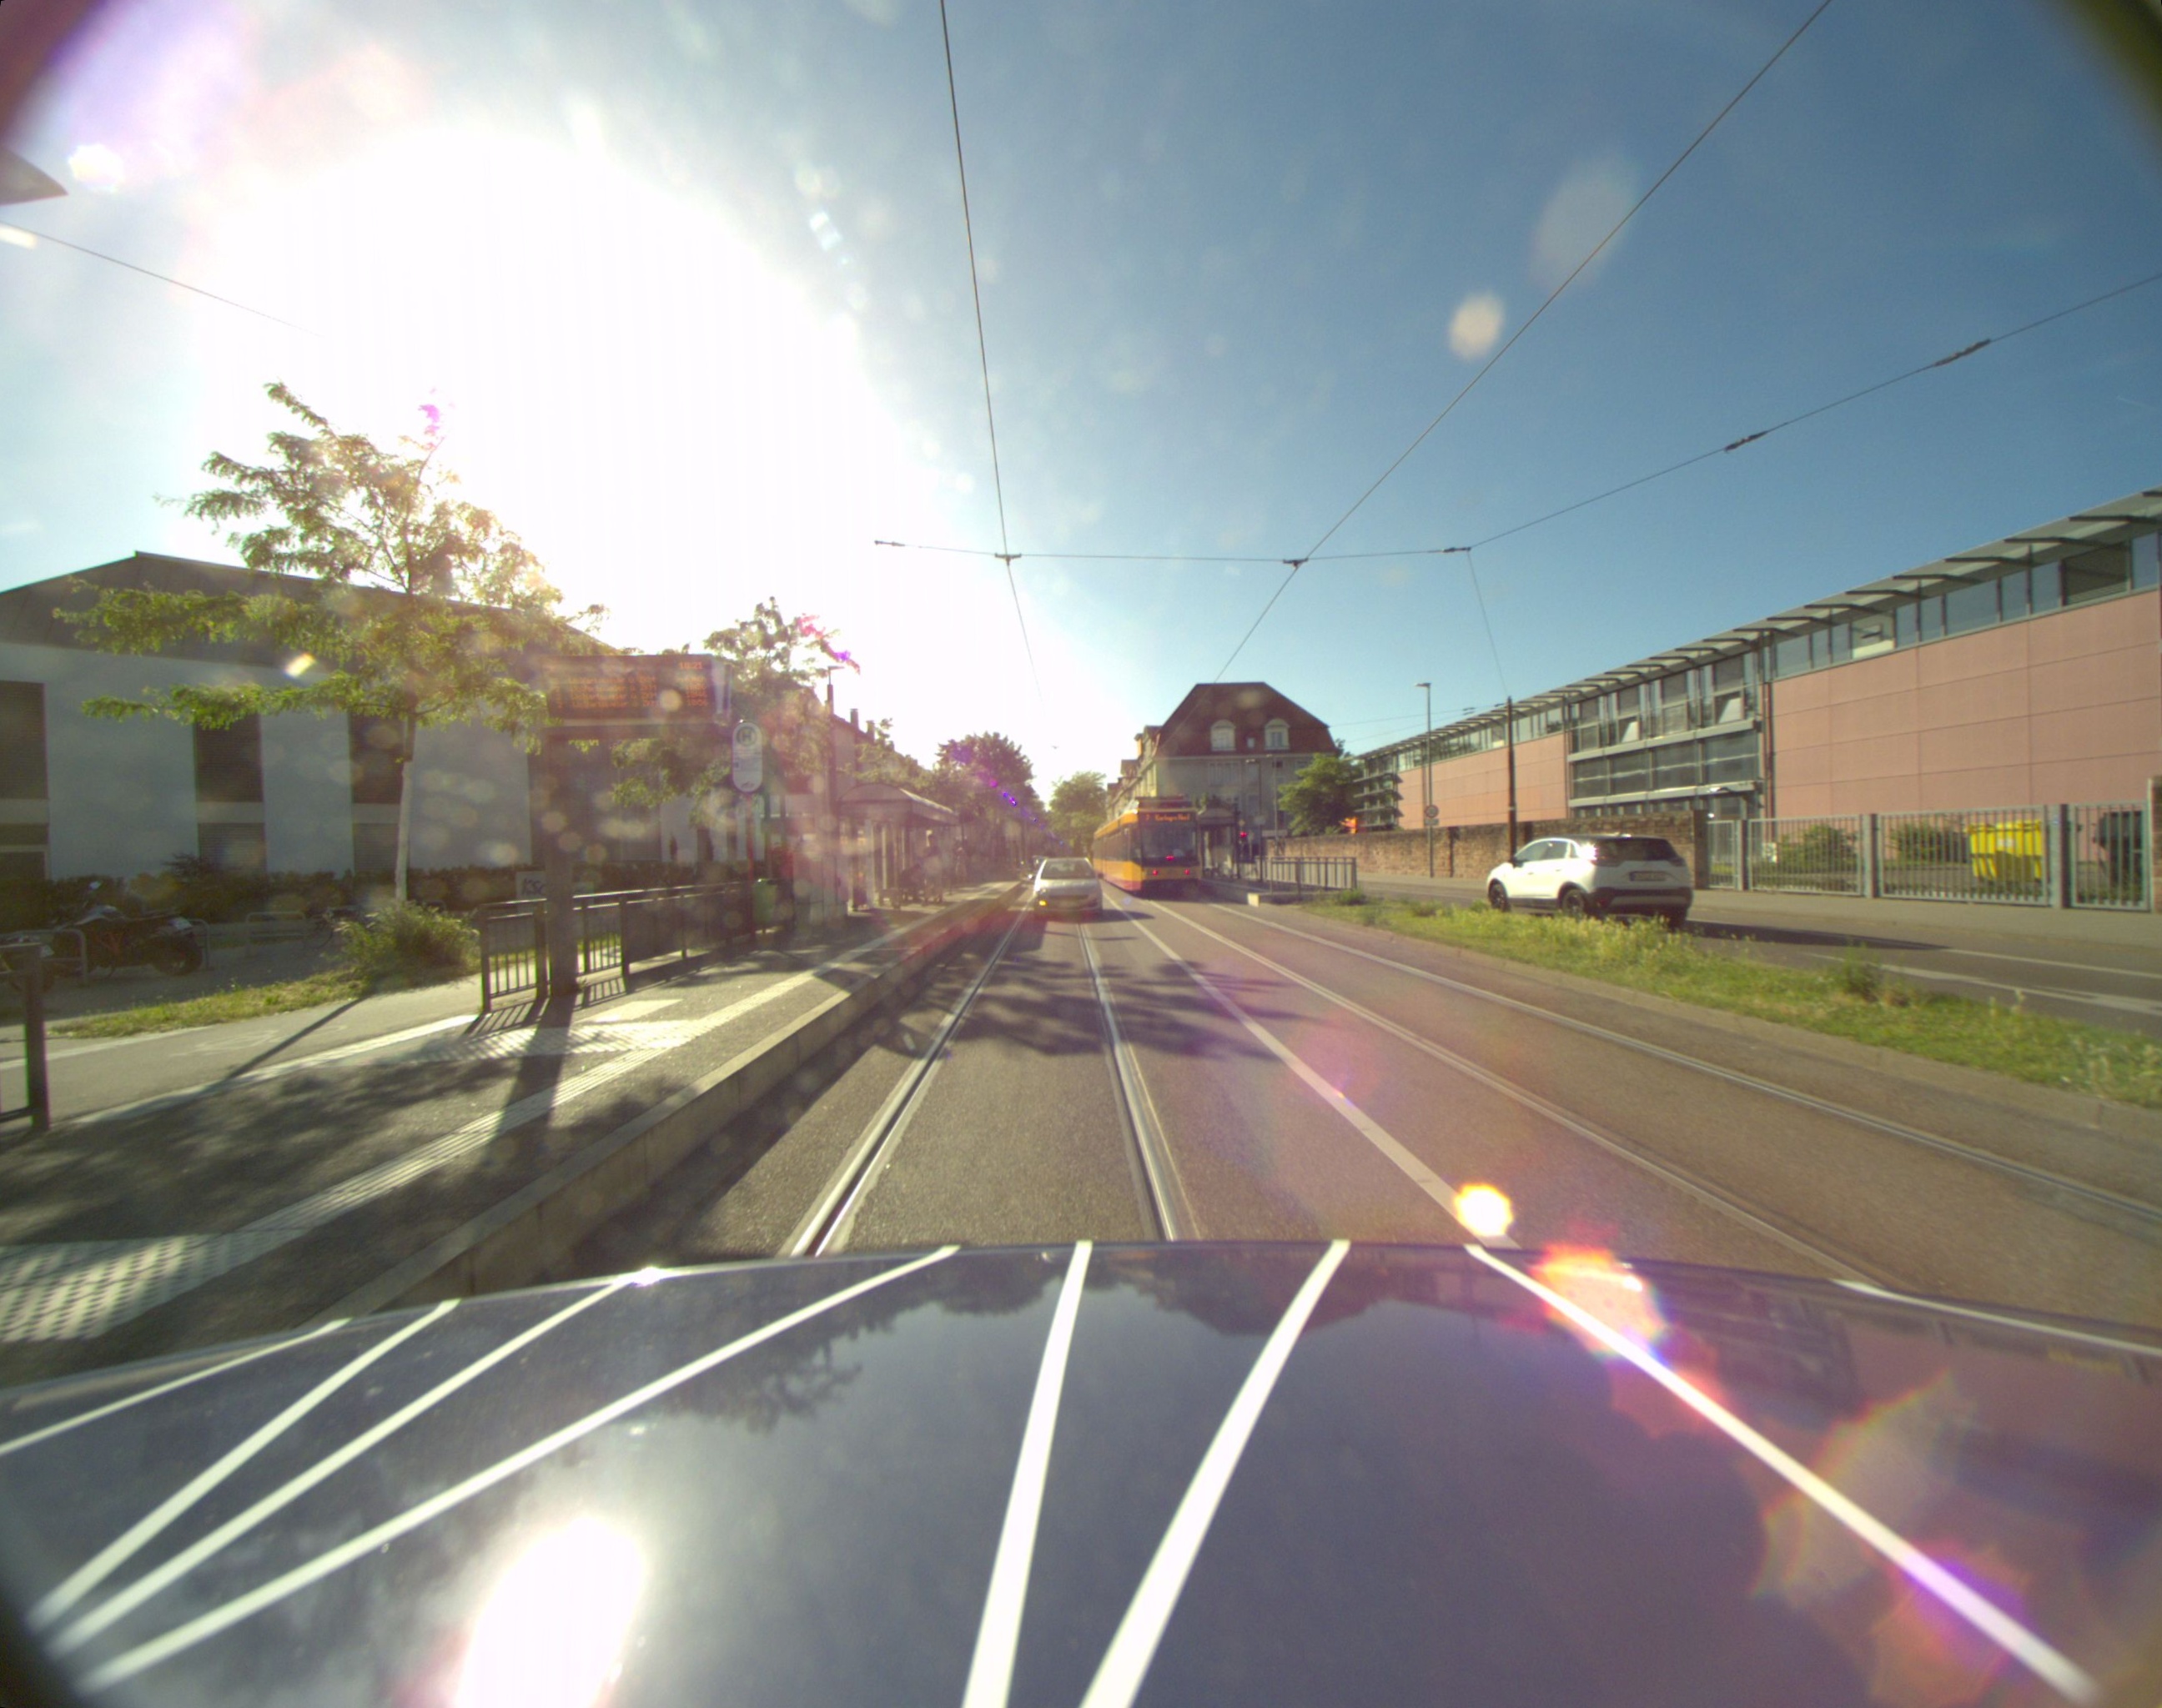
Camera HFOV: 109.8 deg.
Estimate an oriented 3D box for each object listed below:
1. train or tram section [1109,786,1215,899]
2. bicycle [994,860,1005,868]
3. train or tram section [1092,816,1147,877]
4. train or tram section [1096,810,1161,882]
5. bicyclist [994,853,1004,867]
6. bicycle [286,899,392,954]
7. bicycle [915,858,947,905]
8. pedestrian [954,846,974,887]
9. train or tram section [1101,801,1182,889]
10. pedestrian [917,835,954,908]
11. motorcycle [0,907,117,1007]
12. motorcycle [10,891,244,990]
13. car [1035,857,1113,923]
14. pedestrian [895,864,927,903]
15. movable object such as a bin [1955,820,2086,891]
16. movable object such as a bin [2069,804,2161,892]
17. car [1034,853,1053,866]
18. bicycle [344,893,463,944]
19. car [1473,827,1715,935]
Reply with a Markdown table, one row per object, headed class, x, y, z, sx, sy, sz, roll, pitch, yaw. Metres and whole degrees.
| class | x | y | z | sx | sy | sz | roll | pitch | yaw |
| --- | --- | --- | --- | --- | --- | --- | --- | --- | --- |
| train or tram section | 2.653 | -0.368 | 27.050 | 2.811 | 3.439 | 6.667 | -2 | 0 | -1 |
| bicycle | -9.055 | 1.124 | 84.192 | 0.827 | 0.880 | 2.198 | -2 | 0 | 2 |
| train or tram section | 2.260 | -0.434 | 47.086 | 2.811 | 3.439 | 6.667 | -2 | 0 | -1 |
| train or tram section | 2.391 | -0.407 | 40.380 | 2.811 | 3.439 | 6.667 | -2 | 0 | -1 |
| bicyclist | -9.071 | 0.636 | 84.142 | 0.818 | 1.491 | 1.258 | -2 | 0 | 2 |
| bicycle | -14.307 | 1.387 | 14.664 | 1.474 | 0.973 | 0.415 | -2 | 1 | -8 |
| bicycle | -4.212 | 0.756 | 21.444 | 0.621 | 1.222 | 1.966 | -3 | 1 | -5 |
| pedestrian | -5.001 | 0.513 | 32.522 | 0.673 | 1.694 | 0.690 | -3 | 1 | -2 |
| train or tram section | 2.523 | -0.381 | 33.713 | 2.811 | 3.439 | 6.667 | -2 | 0 | -1 |
| pedestrian | -3.805 | 0.455 | 19.879 | 0.713 | 1.843 | 0.729 | -3 | 1 | 0 |
| motorcycle | -13.901 | 1.315 | 9.639 | 2.004 | 1.151 | 0.861 | -2 | 1 | -8 |
| motorcycle | -13.945 | 1.233 | 11.173 | 2.084 | 1.267 | 0.861 | -2 | 1 | -8 |
| car | -0.227 | 0.835 | 19.248 | 1.742 | 1.450 | 3.693 | -2 | 0 | -2 |
| pedestrian | -5.074 | 0.865 | 22.704 | 0.740 | 1.111 | 0.658 | -3 | 1 | -2 |
| movable object such as a bin | 17.920 | 0.015 | 14.538 | 0.883 | 1.277 | 1.309 | -1 | 1 | -3 |
| movable object such as a bin | 18.003 | -0.108 | 12.851 | 0.883 | 1.438 | 1.309 | -1 | 1 | -2 |
| car | -4.343 | 0.626 | 88.241 | 1.743 | 1.450 | 3.690 | -2 | 0 | -10 |
| bicycle | -14.380 | 1.358 | 16.153 | 1.903 | 0.973 | 0.491 | -1 | 1 | -8 |
| car | 9.106 | 0.409 | 13.987 | 1.769 | 1.654 | 4.210 | -1 | 1 | 3 |
